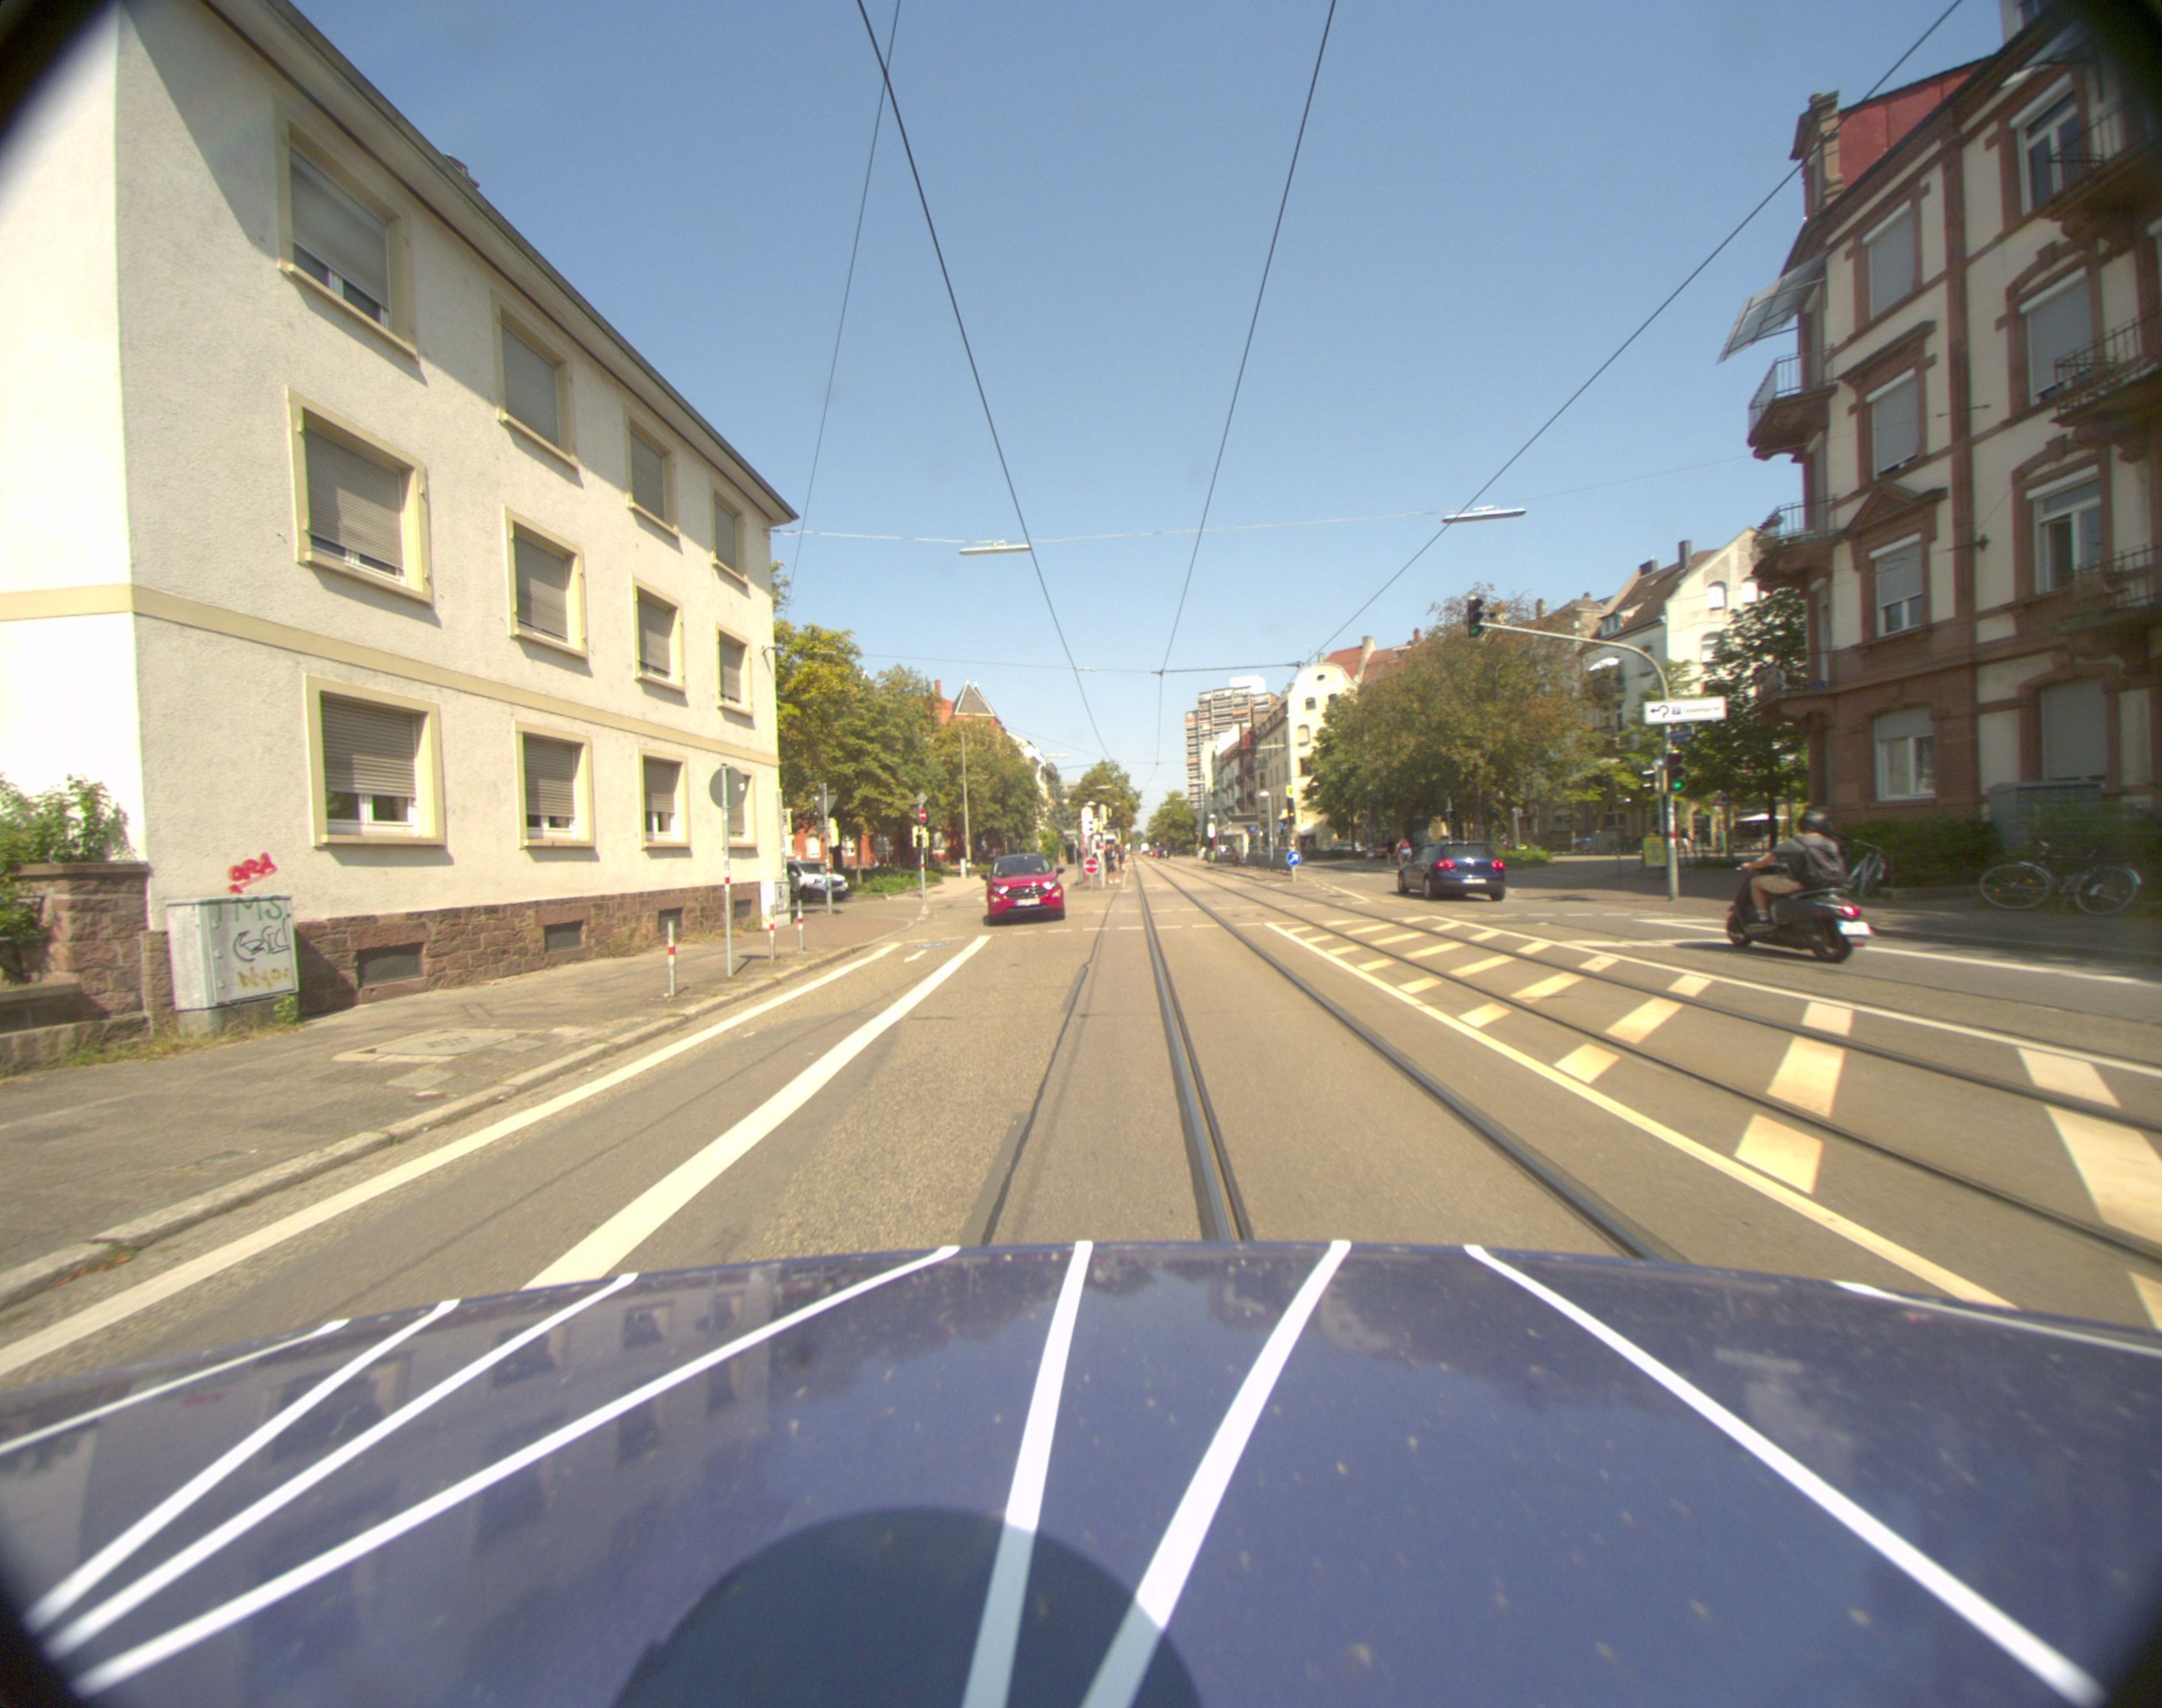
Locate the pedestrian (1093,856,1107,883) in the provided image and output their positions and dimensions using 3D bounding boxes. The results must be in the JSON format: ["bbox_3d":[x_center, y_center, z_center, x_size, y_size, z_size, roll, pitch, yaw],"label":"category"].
[{"bbox_3d":[1.167,0.934,46.447,0.738,1.575,0.853,-2,0,3],"label":"pedestrian"}]

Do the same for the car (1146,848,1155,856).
[{"bbox_3d":[16.524,-0.454,181.009,1.998,1.716,4.632,-1,0,5],"label":"car"}]

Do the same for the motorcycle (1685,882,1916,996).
[{"bbox_3d":[8.046,0.896,8.672,0.693,1.025,2.158,-2,0,5],"label":"motorcycle"}]

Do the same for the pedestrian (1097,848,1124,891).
[{"bbox_3d":[1.337,0.695,34.293,0.924,1.874,0.674,-3,0,-32],"label":"pedestrian"}]

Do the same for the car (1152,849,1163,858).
[{"bbox_3d":[15.712,-0.108,156.432,1.998,1.716,4.632,-1,0,5],"label":"car"}]

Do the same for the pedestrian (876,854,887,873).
[{"bbox_3d":[-19.640,0.919,74.640,0.677,1.874,0.920,-3,0,-36],"label":"pedestrian"}]

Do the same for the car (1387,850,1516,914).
[{"bbox_3d":[9.371,0.646,19.587,1.730,1.425,4.179,0,1,7],"label":"car"}]

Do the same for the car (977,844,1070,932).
[{"bbox_3d":[-1.299,0.752,18.822,1.803,1.801,4.416,-4,0,0],"label":"car"}]

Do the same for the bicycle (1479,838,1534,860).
[{"bbox_3d":[29.804,-0.319,53.325,1.223,1.428,3.481,-2,0,-15],"label":"bicycle"}]

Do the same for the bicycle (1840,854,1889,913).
[{"bbox_3d":[14.753,0.537,14.338,0.487,0.991,1.833,-2,0,42],"label":"bicycle"}]

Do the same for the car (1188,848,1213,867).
[{"bbox_3d":[11.272,0.316,71.929,1.998,1.716,4.632,-1,0,5],"label":"car"}]

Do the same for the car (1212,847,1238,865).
[{"bbox_3d":[14.411,0.174,76.414,1.998,1.716,4.632,-1,0,4],"label":"car"}]

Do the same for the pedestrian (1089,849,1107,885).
[{"bbox_3d":[0.932,0.703,40.768,0.674,1.874,0.924,-2,0,14],"label":"pedestrian"}]

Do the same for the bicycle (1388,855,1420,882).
[{"bbox_3d":[13.152,0.578,30.960,0.582,1.060,1.844,-2,0,4],"label":"bicycle"}]

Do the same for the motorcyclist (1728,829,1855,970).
[{"bbox_3d":[8.024,0.492,8.620,0.691,1.503,0.773,-2,1,5],"label":"motorcyclist"}]

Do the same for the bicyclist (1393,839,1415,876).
[{"bbox_3d":[13.134,0.160,30.916,0.582,1.462,0.776,-2,0,4],"label":"bicyclist"}]

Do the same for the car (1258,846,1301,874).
[{"bbox_3d":[12.810,0.358,49.242,1.998,1.638,4.633,-1,0,6],"label":"car"}]

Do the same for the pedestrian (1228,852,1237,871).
[{"bbox_3d":[10.115,0.470,50.633,0.479,1.243,0.648,-2,0,5],"label":"pedestrian"}]

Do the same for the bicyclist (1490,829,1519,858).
[{"bbox_3d":[29.755,-0.728,53.399,1.210,2.002,1.210,-3,2,-17],"label":"bicyclist"}]

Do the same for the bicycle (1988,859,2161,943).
[{"bbox_3d":[13.573,0.589,10.338,0.488,1.015,1.779,-3,0,7],"label":"bicycle"}]

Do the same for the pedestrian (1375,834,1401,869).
[{"bbox_3d":[18.494,-0.157,45.805,1.094,2.002,1.036,-4,1,4],"label":"pedestrian"}]

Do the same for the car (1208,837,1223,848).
[{"bbox_3d":[22.509,-1.933,126.948,1.998,1.716,4.632,-1,0,5],"label":"car"}]

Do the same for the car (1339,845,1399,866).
[{"bbox_3d":[26.220,0.152,69.276,2.004,1.716,4.618,-2,0,-42],"label":"car"}]

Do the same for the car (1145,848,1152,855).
[{"bbox_3d":[18.806,-0.728,212.081,1.998,1.716,4.632,-1,0,5],"label":"car"}]

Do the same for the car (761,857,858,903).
[{"bbox_3d":[-11.749,1.126,32.715,4.404,1.801,1.808,-2,0,38],"label":"car"}]

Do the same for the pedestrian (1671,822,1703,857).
[{"bbox_3d":[35.953,-0.838,45.097,1.035,2.002,1.095,-4,1,9],"label":"pedestrian"}]

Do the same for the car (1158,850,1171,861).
[{"bbox_3d":[13.862,0.239,126.499,1.998,1.716,4.632,-1,0,5],"label":"car"}]

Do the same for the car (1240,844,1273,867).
[{"bbox_3d":[13.819,0.101,60.009,1.997,1.638,4.633,-1,0,7],"label":"car"}]
